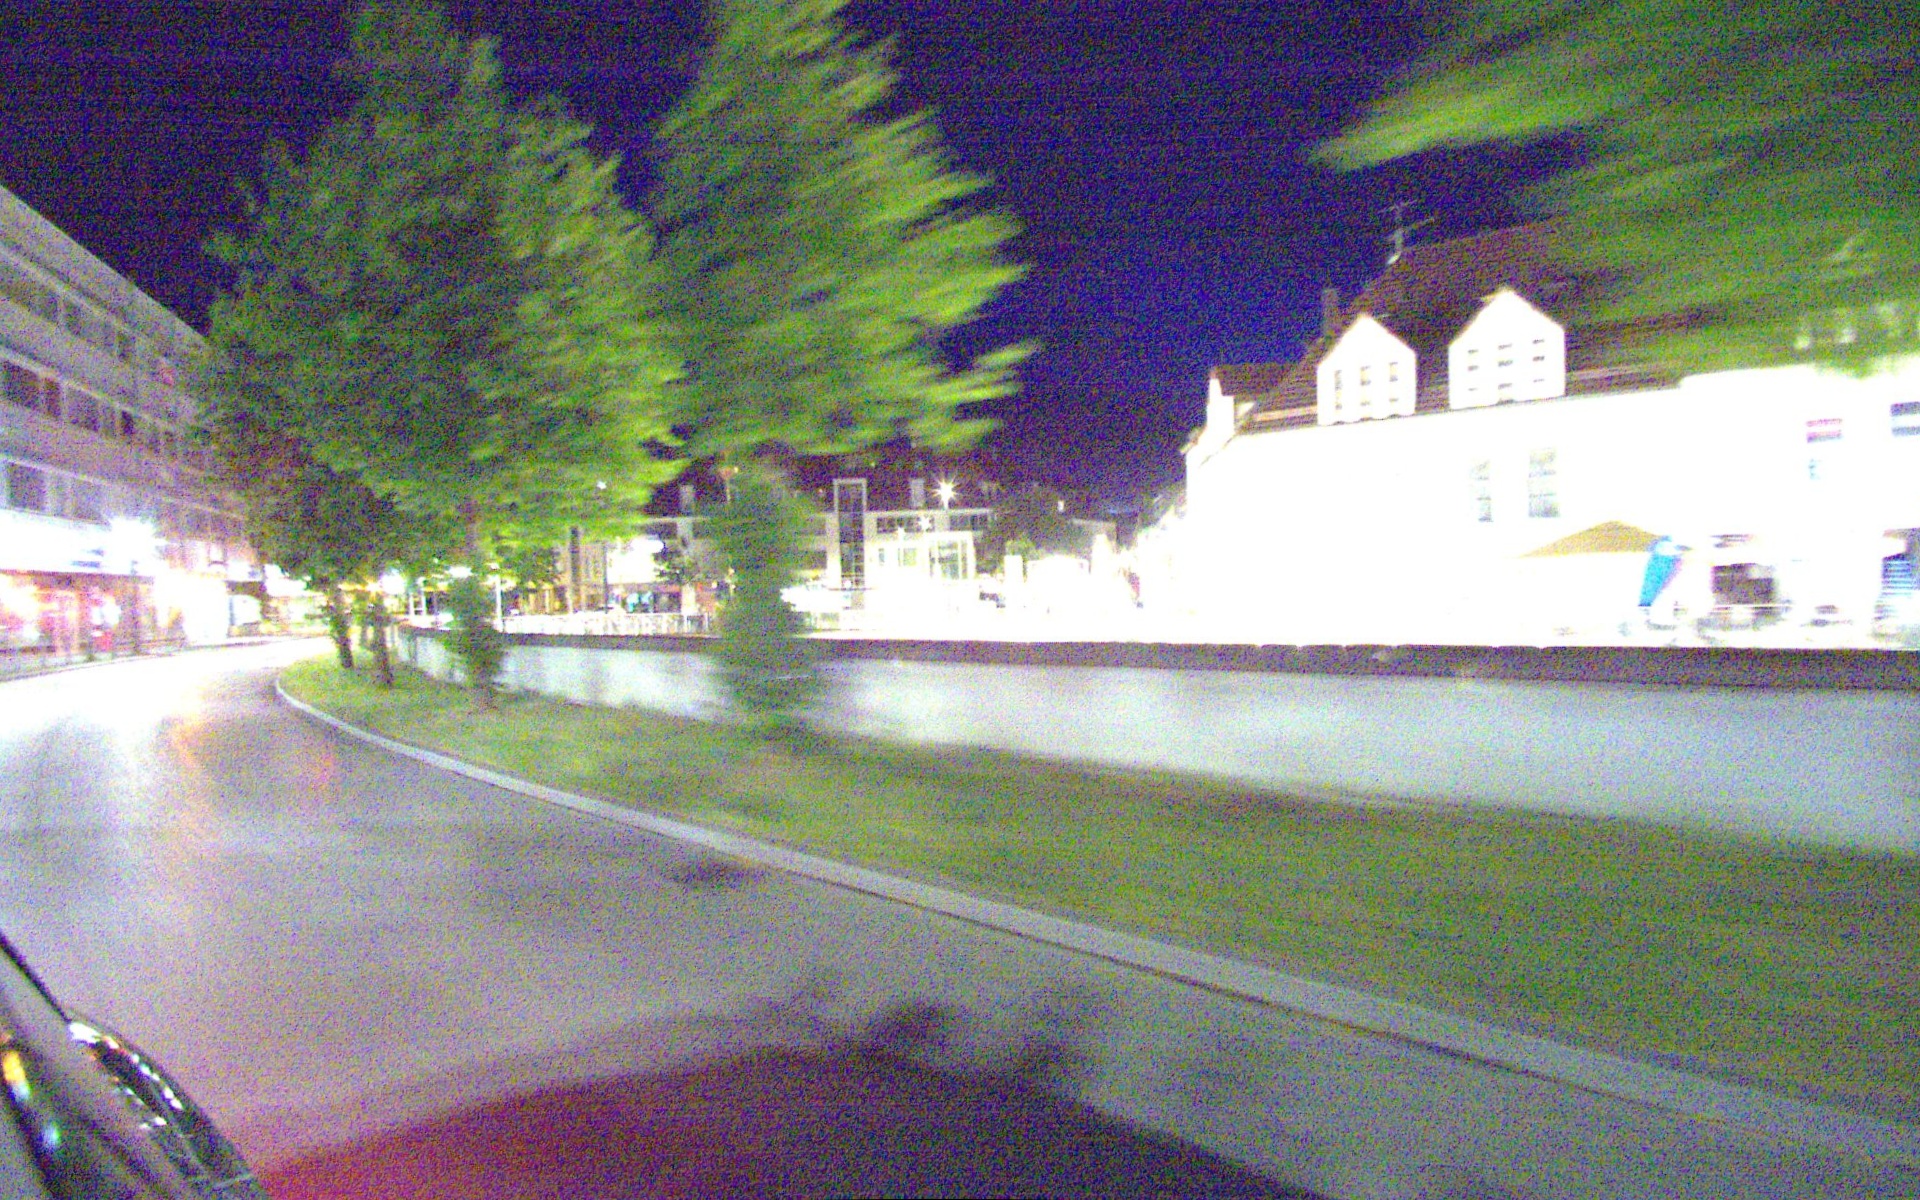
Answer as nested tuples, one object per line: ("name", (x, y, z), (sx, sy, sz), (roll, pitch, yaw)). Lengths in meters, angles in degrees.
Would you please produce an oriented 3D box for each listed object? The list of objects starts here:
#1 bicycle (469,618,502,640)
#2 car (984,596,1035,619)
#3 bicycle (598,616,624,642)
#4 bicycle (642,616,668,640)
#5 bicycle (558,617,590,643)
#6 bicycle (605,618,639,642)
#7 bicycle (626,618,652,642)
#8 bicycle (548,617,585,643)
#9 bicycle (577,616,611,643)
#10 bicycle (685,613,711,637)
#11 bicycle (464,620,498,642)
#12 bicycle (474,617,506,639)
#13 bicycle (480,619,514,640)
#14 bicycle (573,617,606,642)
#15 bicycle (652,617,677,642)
("bicycle", (-26.294, 1.591, 56.120), (1.593, 1.114, 0.672), (-2, 1, -21))
("car", (4.568, 0.692, 93.643), (4.350, 1.951, 1.963), (-1, -1, -6))
("bicycle", (-16.321, 1.357, 47.257), (0.599, 1.174, 1.750), (0, -2, -38))
("bicycle", (-14.839, 1.358, 49.161), (0.599, 1.109, 1.750), (0, -2, -38))
("bicycle", (-17.702, 1.379, 46.394), (1.744, 1.163, 0.538), (-2, -2, 37))
("bicycle", (-16.065, 1.418, 48.051), (1.742, 1.078, 0.602), (-2, -2, 34))
("bicycle", (-15.339, 1.420, 48.272), (0.599, 1.133, 1.750), (0, 0, -38))
("bicycle", (-17.701, 1.353, 45.515), (1.744, 1.171, 0.752), (-2, -2, 37))
("bicycle", (-16.726, 1.350, 46.255), (1.744, 1.174, 0.601), (-2, -2, 37))
("bicycle", (-13.335, 1.279, 51.411), (0.599, 1.228, 1.750), (0, -2, -38))
("bicycle", (-25.966, 1.685, 54.844), (1.593, 1.114, 0.672), (-2, 1, -21))
("bicycle", (-26.408, 1.564, 56.884), (1.593, 1.114, 0.672), (-2, 1, -21))
("bicycle", (-26.956, 1.695, 58.893), (1.744, 1.173, 0.672), (-1, 0, -21))
("bicycle", (-17.386, 1.391, 47.525), (1.744, 1.174, 0.601), (-2, -2, 37))
("bicycle", (-14.602, 1.466, 49.975), (0.599, 1.174, 1.750), (0, -2, -38))
